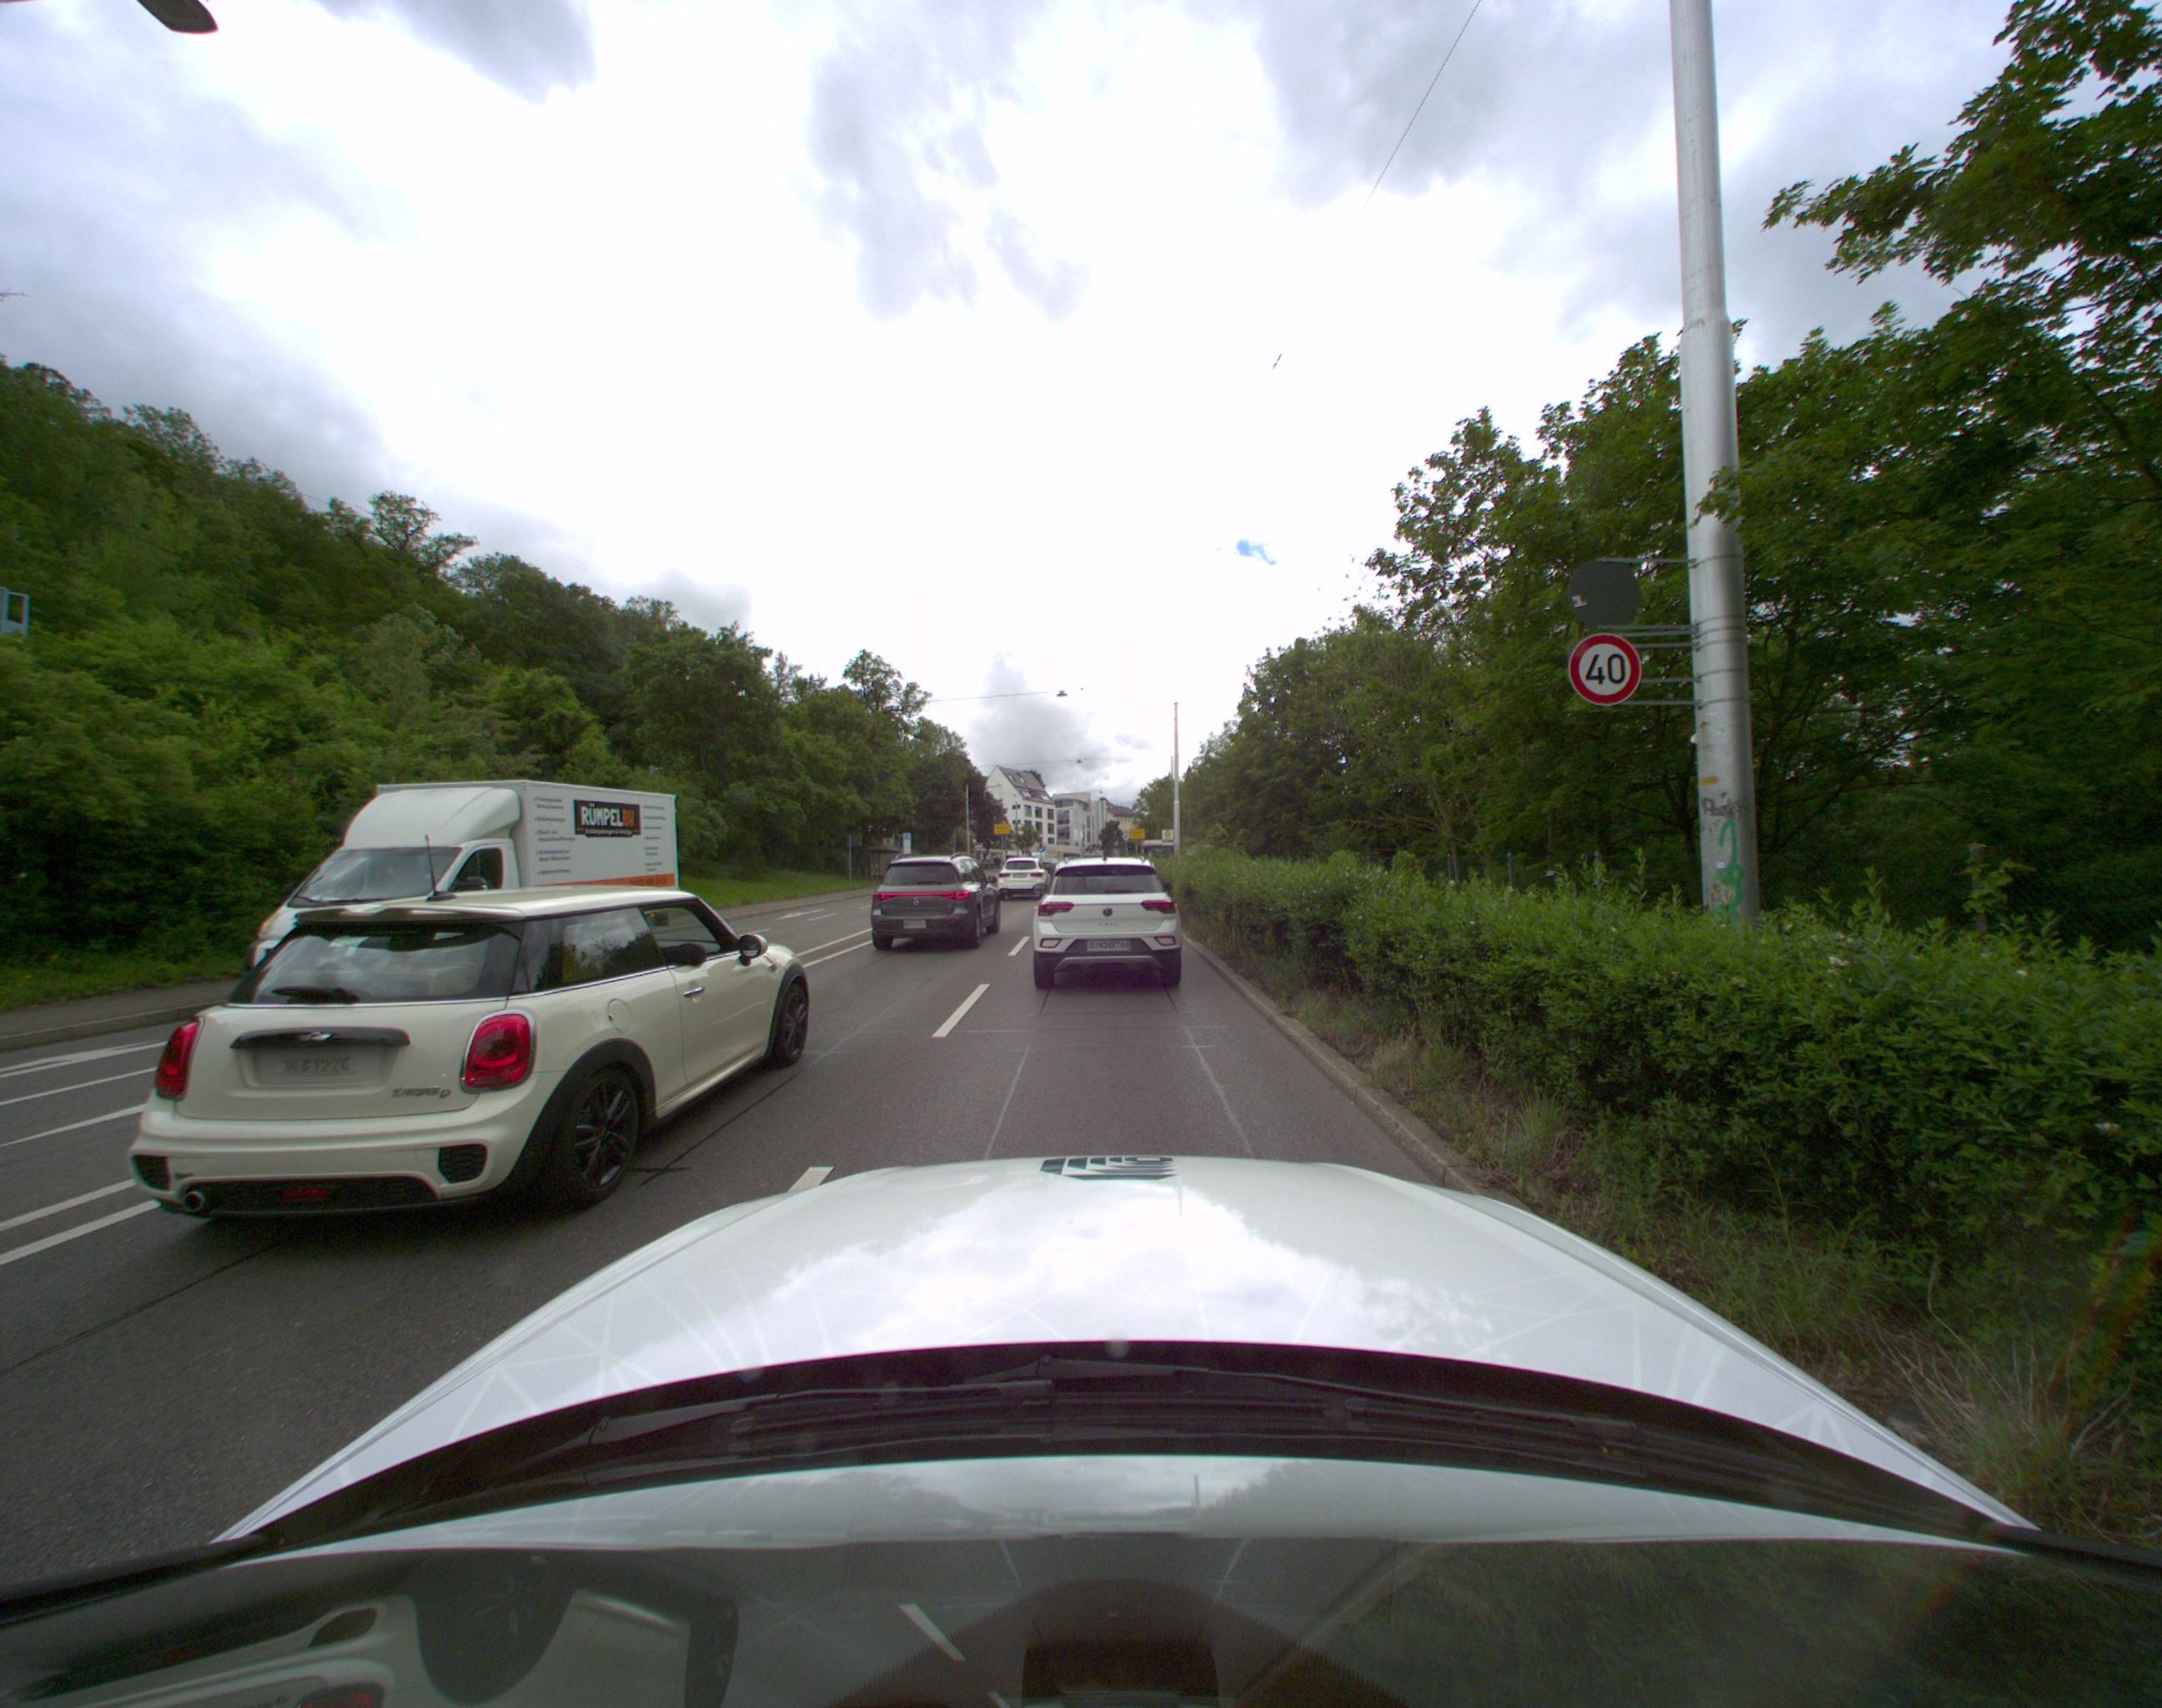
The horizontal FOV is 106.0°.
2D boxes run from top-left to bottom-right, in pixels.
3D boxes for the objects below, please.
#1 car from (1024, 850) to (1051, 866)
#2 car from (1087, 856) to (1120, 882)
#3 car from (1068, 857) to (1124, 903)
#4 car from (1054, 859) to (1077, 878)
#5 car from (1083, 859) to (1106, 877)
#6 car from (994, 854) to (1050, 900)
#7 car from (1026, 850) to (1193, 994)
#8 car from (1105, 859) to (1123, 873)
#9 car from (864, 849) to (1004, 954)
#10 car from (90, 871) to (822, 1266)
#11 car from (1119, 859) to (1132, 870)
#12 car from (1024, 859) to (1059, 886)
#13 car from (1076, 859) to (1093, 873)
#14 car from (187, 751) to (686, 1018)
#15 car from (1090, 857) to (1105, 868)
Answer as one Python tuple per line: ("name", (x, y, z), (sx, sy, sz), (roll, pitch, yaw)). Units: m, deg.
("car", (-7.605, 0.688, 143.773), (2.214, 2.568, 7.455), (-1, 0, 17))
("car", (1.403, 0.928, 52.251), (1.867, 1.501, 4.553), (2, 0, 0))
("car", (0.503, 0.907, 29.771), (1.852, 1.500, 4.054), (-2, 0, 0))
("car", (-1.328, 1.228, 69.463), (1.852, 1.500, 4.054), (-2, 0, 0))
("car", (1.183, 1.247, 72.419), (1.852, 1.500, 4.054), (-2, 0, 0))
("car", (-2.291, 0.874, 32.653), (1.852, 1.652, 4.635), (-2, 0, 0))
("car", (0.315, 0.769, 10.924), (1.806, 1.539, 3.688), (-2, 0, 0))
("car", (3.943, 1.412, 97.523), (1.852, 1.500, 4.054), (-2, 0, 0))
("car", (-2.639, 0.796, 15.702), (1.807, 1.652, 4.635), (-2, 0, 0))
("car", (-2.954, 0.853, 4.899), (1.623, 1.393, 3.565), (-2, 0, 0))
("car", (6.680, 1.591, 122.227), (1.849, 1.500, 4.061), (-2, 0, 5))
("car", (-2.356, 1.073, 49.364), (1.852, 1.500, 4.054), (-2, 0, 0))
("car", (0.388, 1.424, 96.782), (1.852, 1.500, 4.054), (-2, 0, 0))
("car", (-9.240, 0.369, 13.084), (2.263, 3.056, 7.234), (-1, 0, 0))
("car", (2.240, 1.168, 111.378), (1.852, 1.500, 4.056), (-2, 0, 1))
